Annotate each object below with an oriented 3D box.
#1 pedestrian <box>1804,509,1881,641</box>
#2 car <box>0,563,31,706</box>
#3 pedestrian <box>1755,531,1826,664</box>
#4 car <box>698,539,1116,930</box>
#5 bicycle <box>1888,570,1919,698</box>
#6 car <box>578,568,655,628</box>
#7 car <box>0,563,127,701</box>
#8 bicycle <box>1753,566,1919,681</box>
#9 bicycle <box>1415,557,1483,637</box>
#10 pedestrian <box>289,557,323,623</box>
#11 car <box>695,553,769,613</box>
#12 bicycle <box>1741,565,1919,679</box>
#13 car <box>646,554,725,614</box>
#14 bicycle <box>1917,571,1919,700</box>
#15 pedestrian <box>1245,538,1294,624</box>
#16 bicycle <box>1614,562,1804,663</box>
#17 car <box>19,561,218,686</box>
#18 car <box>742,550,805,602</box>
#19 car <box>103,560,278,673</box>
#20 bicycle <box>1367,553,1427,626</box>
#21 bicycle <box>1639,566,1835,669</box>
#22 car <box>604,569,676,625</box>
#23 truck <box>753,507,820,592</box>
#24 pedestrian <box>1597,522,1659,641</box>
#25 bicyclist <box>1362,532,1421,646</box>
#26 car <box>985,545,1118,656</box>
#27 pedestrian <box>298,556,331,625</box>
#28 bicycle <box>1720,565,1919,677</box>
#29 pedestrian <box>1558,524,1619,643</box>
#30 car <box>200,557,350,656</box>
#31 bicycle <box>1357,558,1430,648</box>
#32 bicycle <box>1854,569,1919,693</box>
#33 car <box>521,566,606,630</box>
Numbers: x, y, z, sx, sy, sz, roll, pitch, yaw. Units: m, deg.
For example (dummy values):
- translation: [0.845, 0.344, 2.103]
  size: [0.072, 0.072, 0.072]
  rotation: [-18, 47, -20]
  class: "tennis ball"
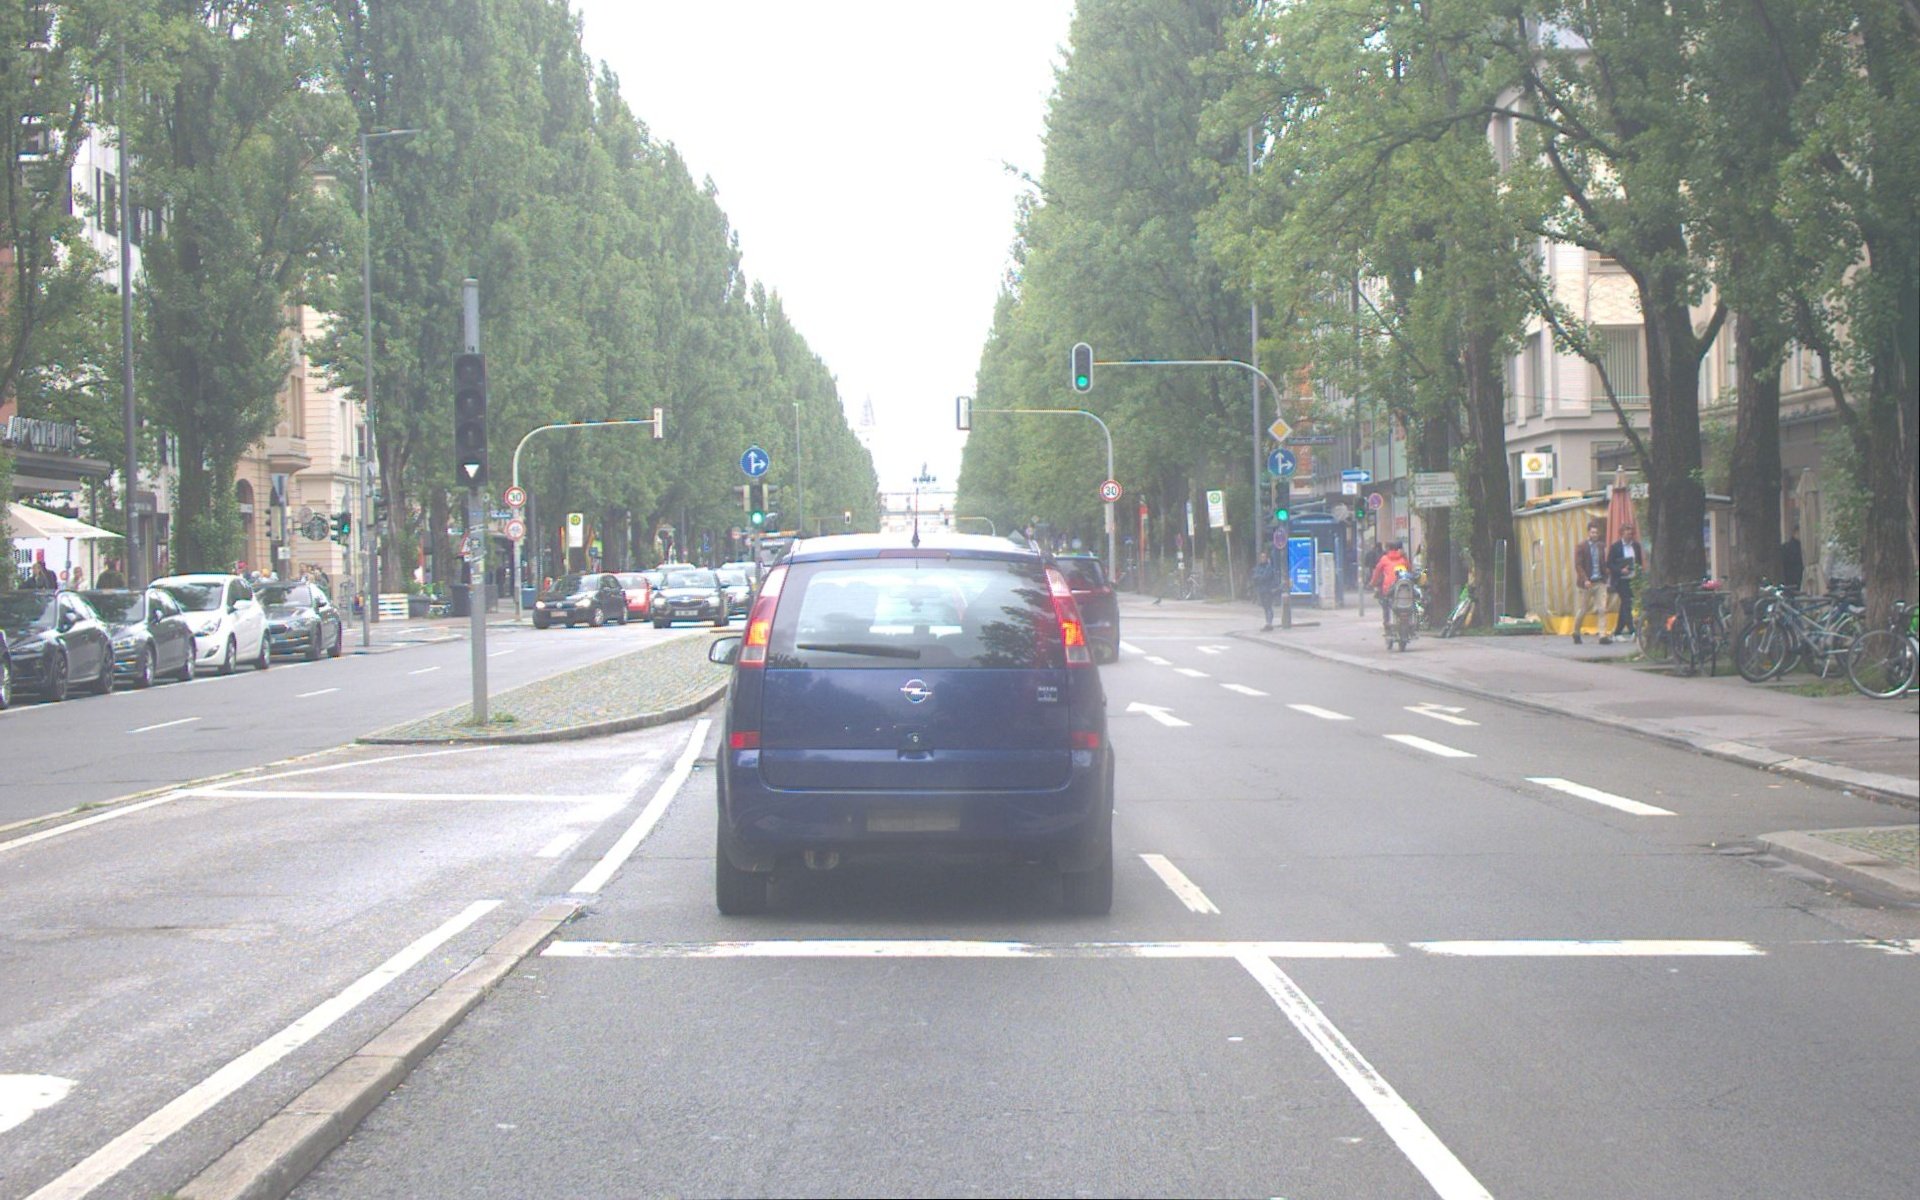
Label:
- translation: [12.331, -0.347, 48.051]
  size: [0.719, 1.820, 0.888]
  rotation: [1, 0, -10]
  class: "pedestrian"
- translation: [-12.167, 0.457, 39.447]
  size: [1.866, 1.660, 4.120]
  rotation: [-3, 1, -1]
  class: "car"
- translation: [11.574, -0.038, 47.901]
  size: [0.636, 1.820, 0.888]
  rotation: [1, 0, -10]
  class: "pedestrian"
- translation: [-0.223, 0.511, 15.768]
  size: [1.671, 1.563, 4.000]
  rotation: [0, 1, 0]
  class: "car"
- translation: [10.093, 0.294, 32.896]
  size: [2.227, 1.200, 0.626]
  rotation: [-1, 1, -2]
  class: "bicycle"
- translation: [-10.028, -0.083, 100.595]
  size: [1.866, 1.660, 4.120]
  rotation: [-1, 1, -1]
  class: "car"
- translation: [-12.275, 0.404, 44.676]
  size: [1.866, 1.660, 4.120]
  rotation: [-3, 1, -1]
  class: "car"
- translation: [9.846, 0.243, 37.466]
  size: [2.227, 1.200, 0.626]
  rotation: [-1, 1, -2]
  class: "bicycle"
- translation: [8.531, -0.064, 60.073]
  size: [0.772, 1.344, 2.449]
  rotation: [-1, 1, -1]
  class: "bicycle"
- translation: [-17.559, -0.274, 92.311]
  size: [0.767, 1.760, 0.885]
  rotation: [-1, 1, -16]
  class: "pedestrian"
- translation: [-6.504, -0.513, 98.506]
  size: [1.866, 1.660, 4.120]
  rotation: [-1, 1, -1]
  class: "car"
- translation: [9.899, 0.238, 38.275]
  size: [2.227, 1.200, 0.626]
  rotation: [-1, 1, -2]
  class: "bicycle"
- translation: [-6.897, -0.415, 86.652]
  size: [1.735, 1.460, 3.365]
  rotation: [-1, 1, -1]
  class: "car"
- translation: [10.062, 0.309, 31.784]
  size: [2.227, 1.200, 0.626]
  rotation: [-1, 1, -2]
  class: "bicycle"
- translation: [6.406, -0.393, 71.218]
  size: [0.882, 1.760, 0.770]
  rotation: [-1, 1, -3]
  class: "pedestrian"
- translation: [9.437, 0.153, 43.364]
  size: [2.227, 1.200, 0.626]
  rotation: [-1, 1, -2]
  class: "bicycle"
- translation: [-12.232, 0.307, 50.202]
  size: [1.866, 1.660, 4.120]
  rotation: [-3, 1, -1]
  class: "car"
- translation: [-6.180, -0.818, 114.274]
  size: [1.866, 1.660, 4.120]
  rotation: [-1, 1, -1]
  class: "car"
- translation: [-12.358, 0.228, 55.463]
  size: [1.866, 1.660, 4.120]
  rotation: [-3, 1, -1]
  class: "car"
- translation: [8.324, -0.214, 65.575]
  size: [0.772, 1.344, 2.449]
  rotation: [-1, 1, -1]
  class: "bicycle"
- translation: [9.478, 0.207, 41.986]
  size: [2.227, 1.200, 0.626]
  rotation: [-1, 1, -2]
  class: "bicycle"
- translation: [-9.929, -0.111, 107.009]
  size: [1.866, 1.660, 4.120]
  rotation: [-1, 1, -1]
  class: "car"
- translation: [-6.994, -2.050, 139.238]
  size: [2.383, 3.335, 7.111]
  rotation: [-1, 1, -1]
  class: "truck"
- translation: [10.357, -0.285, 53.317]
  size: [0.636, 1.820, 0.888]
  rotation: [1, 0, -10]
  class: "pedestrian"
- translation: [6.749, -0.176, 53.779]
  size: [0.767, 1.760, 0.885]
  rotation: [-1, 1, -1]
  class: "bicyclist"
- translation: [1.360, -0.019, 52.398]
  size: [1.896, 1.616, 4.000]
  rotation: [0, 1, 0]
  class: "car"
- translation: [-16.845, -0.255, 89.704]
  size: [0.767, 1.760, 0.885]
  rotation: [-1, 1, -14]
  class: "pedestrian"
- translation: [9.841, 0.235, 39.073]
  size: [2.227, 1.200, 0.626]
  rotation: [-1, 1, -2]
  class: "bicycle"
- translation: [9.685, -0.251, 53.015]
  size: [0.636, 1.820, 0.888]
  rotation: [1, 0, -10]
  class: "pedestrian"
- translation: [-12.434, 0.095, 62.638]
  size: [1.866, 1.660, 4.120]
  rotation: [-3, 1, -1]
  class: "car"
- translation: [6.756, 0.031, 53.718]
  size: [0.772, 1.344, 2.449]
  rotation: [-1, 1, -1]
  class: "bicycle"
- translation: [10.047, 0.279, 33.979]
  size: [2.227, 1.200, 0.626]
  rotation: [-1, 1, -2]
  class: "bicycle"
- translation: [-10.835, -0.069, 94.233]
  size: [1.866, 1.660, 4.120]
  rotation: [-1, 1, -1]
  class: "car"
